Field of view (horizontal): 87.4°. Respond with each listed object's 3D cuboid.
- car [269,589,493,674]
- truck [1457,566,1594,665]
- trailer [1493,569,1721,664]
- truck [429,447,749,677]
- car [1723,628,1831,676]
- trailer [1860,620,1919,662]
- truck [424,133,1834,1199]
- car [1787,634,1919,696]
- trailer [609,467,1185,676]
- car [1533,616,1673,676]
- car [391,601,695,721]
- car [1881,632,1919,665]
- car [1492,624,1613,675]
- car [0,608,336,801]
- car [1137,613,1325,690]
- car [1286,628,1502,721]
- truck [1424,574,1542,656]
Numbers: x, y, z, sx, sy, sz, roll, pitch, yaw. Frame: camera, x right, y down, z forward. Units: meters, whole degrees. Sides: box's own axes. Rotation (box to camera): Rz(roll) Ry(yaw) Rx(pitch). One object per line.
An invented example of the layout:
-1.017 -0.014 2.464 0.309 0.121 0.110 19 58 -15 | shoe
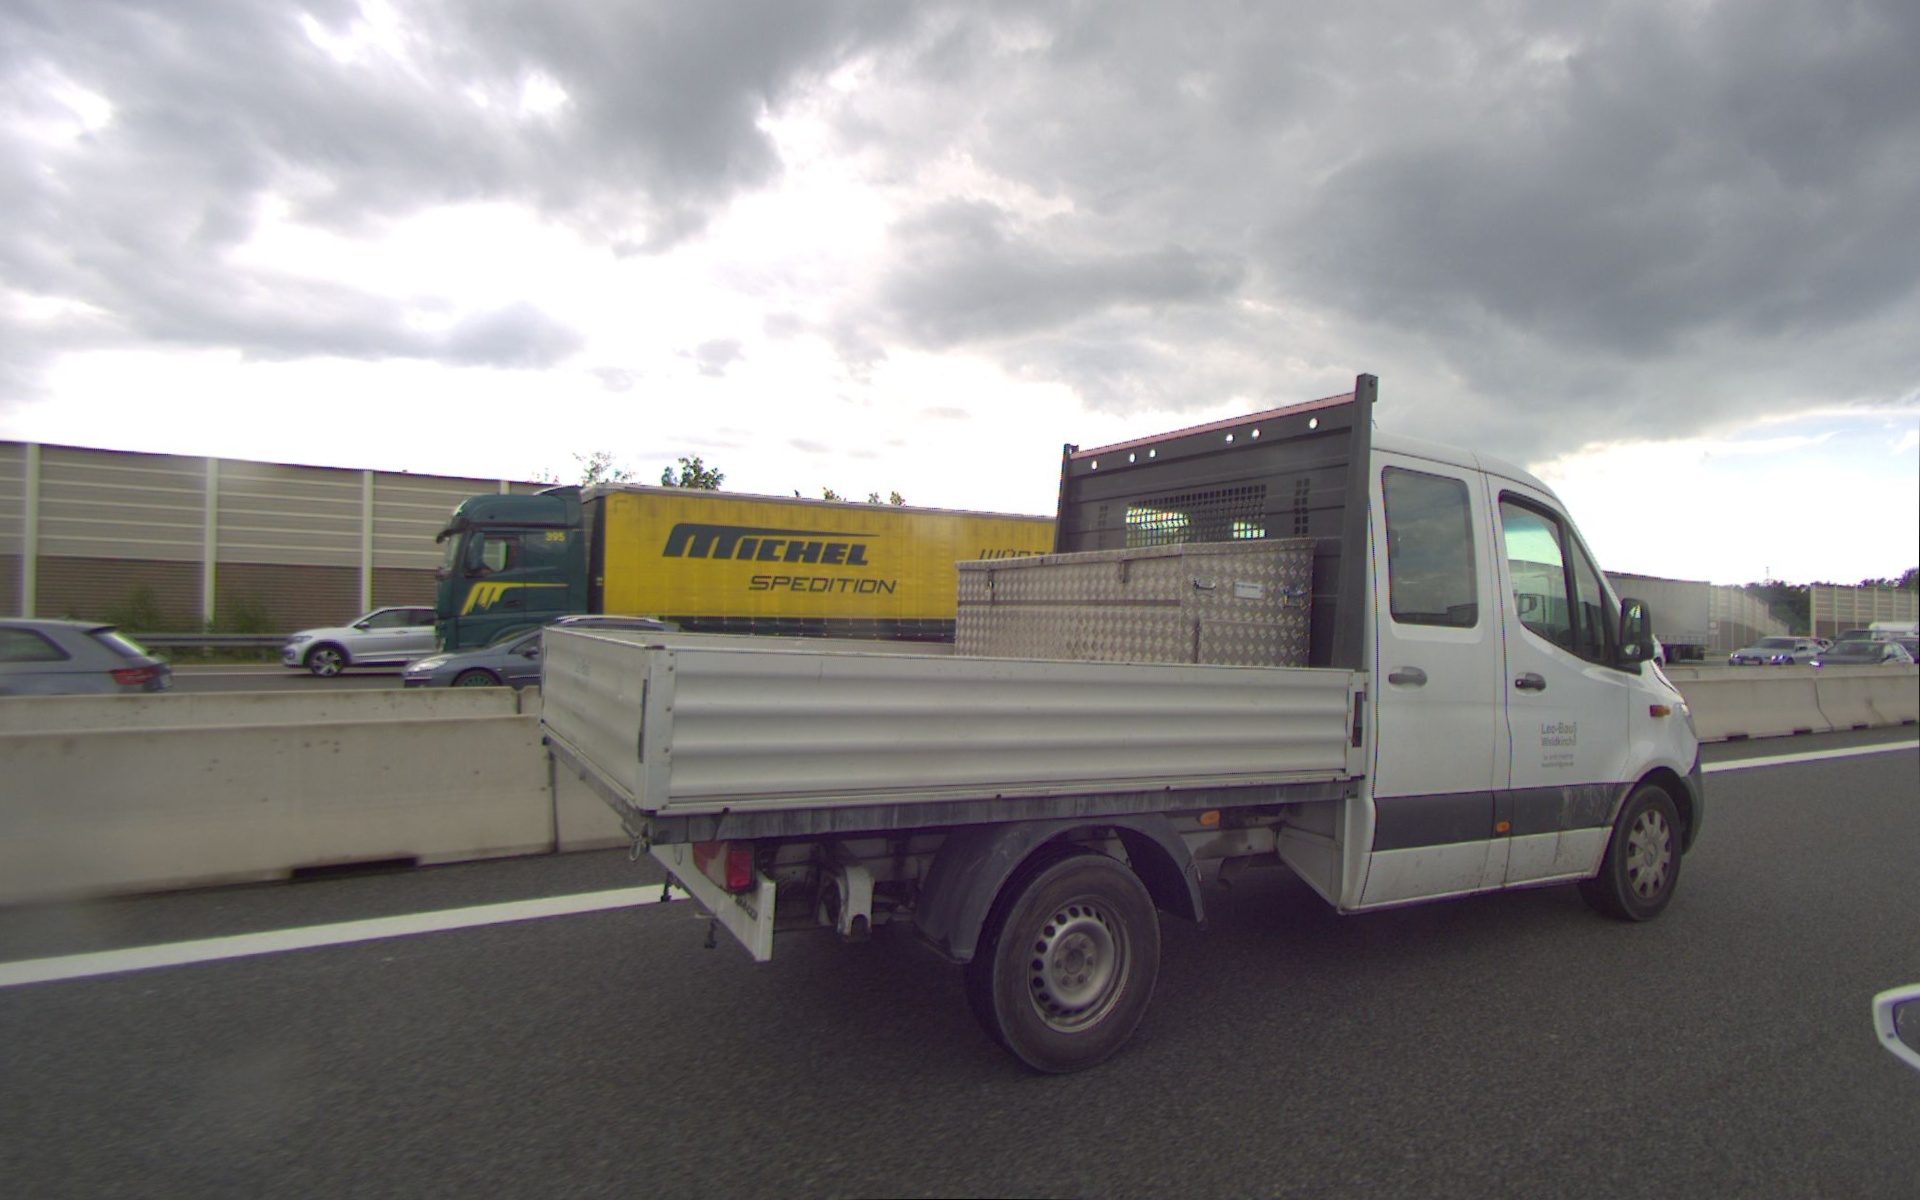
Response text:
-12.932 0.705 22.615 4.163 1.746 2.050 2 -1 -31 | car
25.063 0.730 44.466 5.657 4.088 2.732 2 -1 -30 | truck
31.062 0.921 47.834 14.279 4.085 2.749 2 -1 -29 | trailer
-7.515 -0.592 20.479 5.660 4.088 2.731 2 -1 -31 | truck
32.002 2.007 39.313 4.360 1.722 1.945 2 -1 -31 | car
61.018 2.635 64.913 6.012 2.528 2.448 2 -1 -29 | trailer
1.407 0.316 4.978 7.065 2.472 2.295 2 0 -31 | truck
29.683 2.112 33.305 4.724 1.840 2.050 2 -1 -31 | car
-0.817 -0.346 24.469 14.286 4.085 2.747 2 -1 -31 | trailer
21.315 1.490 33.271 4.724 1.840 2.050 2 -1 -31 | car
-6.812 0.935 16.497 4.360 1.722 2.050 2 -1 -31 | car
53.207 2.704 55.743 4.360 1.722 1.945 2 -1 -31 | car
23.033 1.908 39.001 4.724 1.840 2.050 2 -1 -31 | car
-9.733 0.985 10.144 5.742 1.778 2.050 2 -1 -31 | car
6.734 1.237 24.882 4.360 1.722 2.050 2 -1 -31 | car
9.203 1.497 21.221 4.360 1.722 2.050 2 -1 -31 | car
27.804 0.836 53.378 5.658 4.088 2.904 2 -1 -30 | truck
